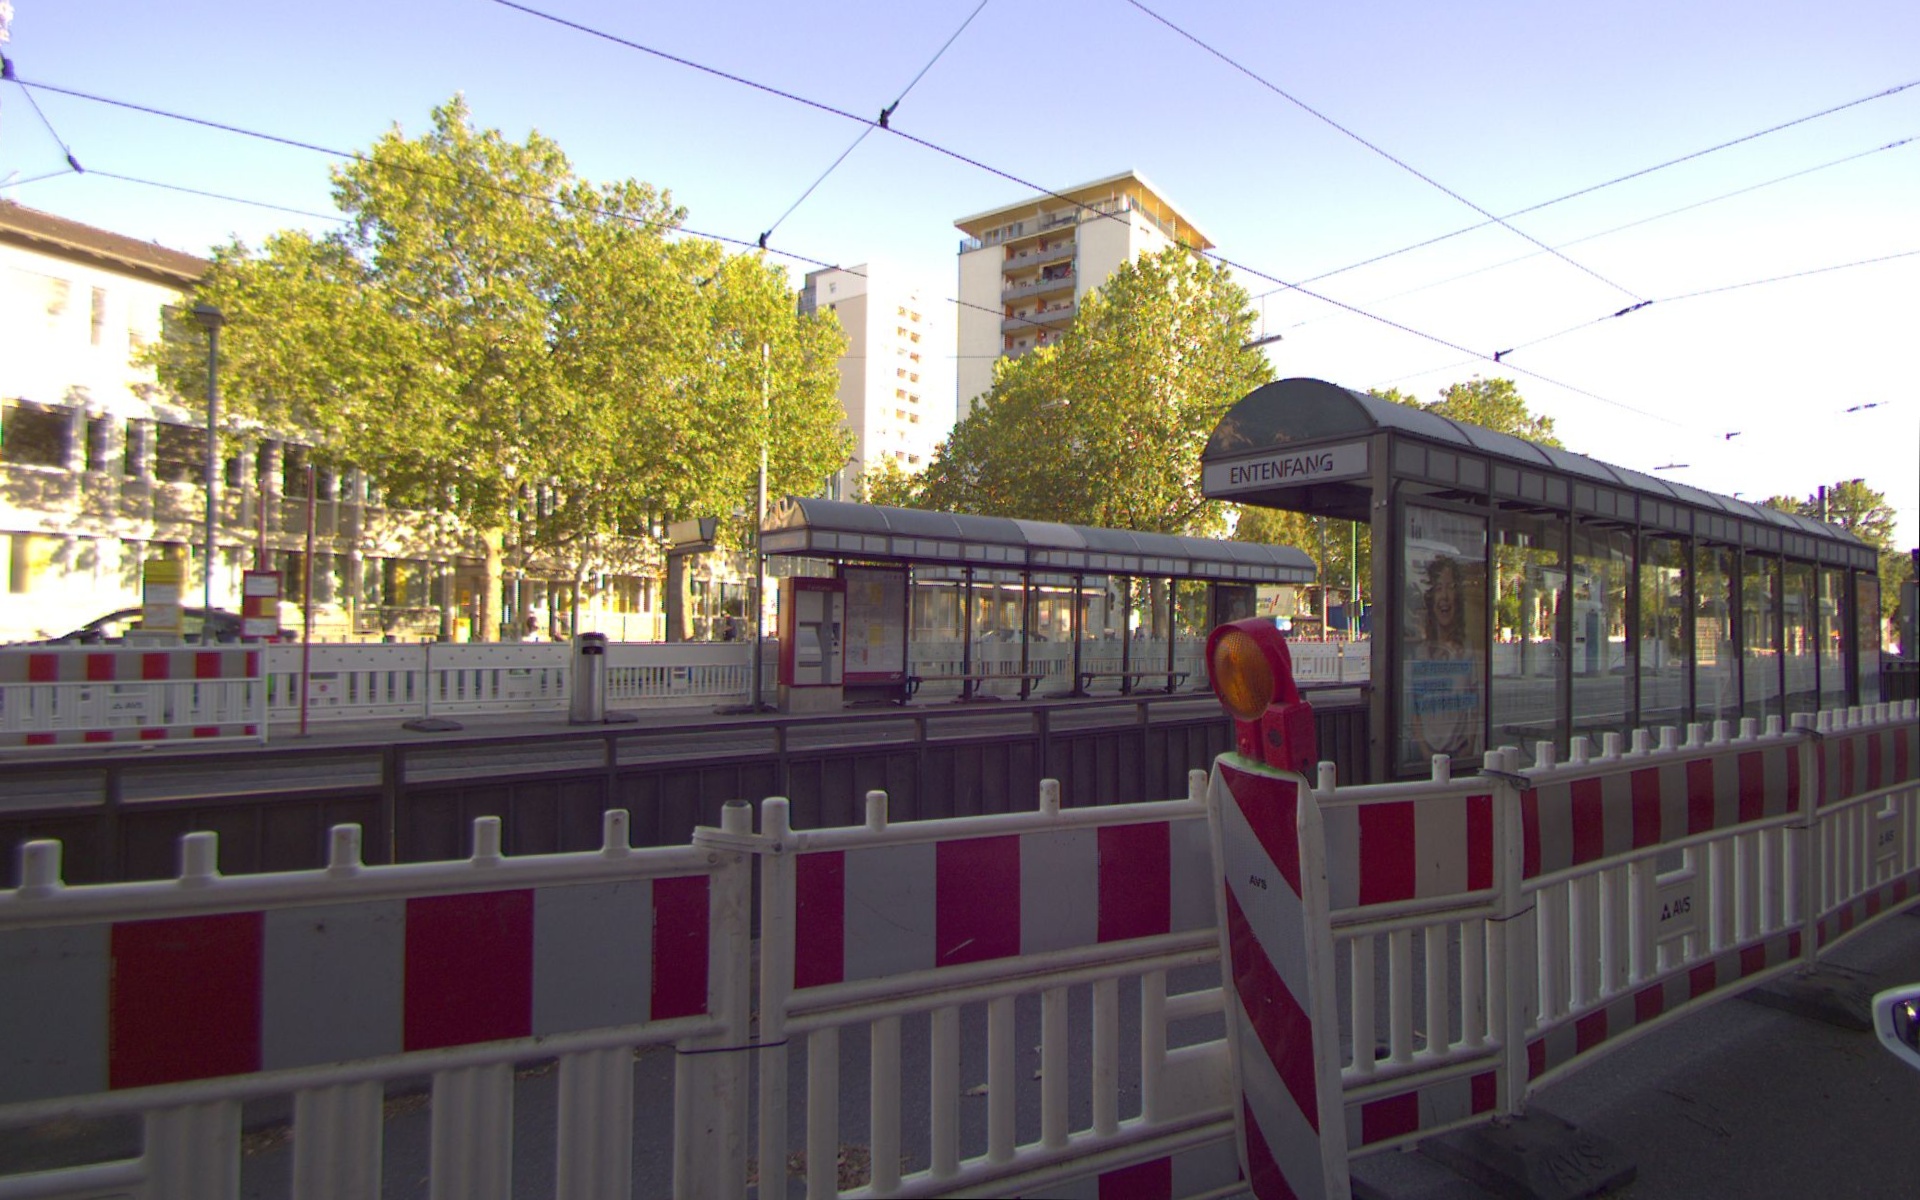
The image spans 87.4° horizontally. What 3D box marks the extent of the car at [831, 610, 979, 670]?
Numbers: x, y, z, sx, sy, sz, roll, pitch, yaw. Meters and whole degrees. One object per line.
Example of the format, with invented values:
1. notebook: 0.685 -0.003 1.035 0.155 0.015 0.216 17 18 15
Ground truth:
1. car: -1.453 1.073 27.275 3.740 1.532 1.646 2 -2 -38

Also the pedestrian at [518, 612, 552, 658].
1. pedestrian: -16.540 1.350 39.082 0.794 1.751 0.883 0 -1 32

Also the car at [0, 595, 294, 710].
1. car: -13.795 0.825 16.602 4.544 1.689 1.881 2 0 -37
